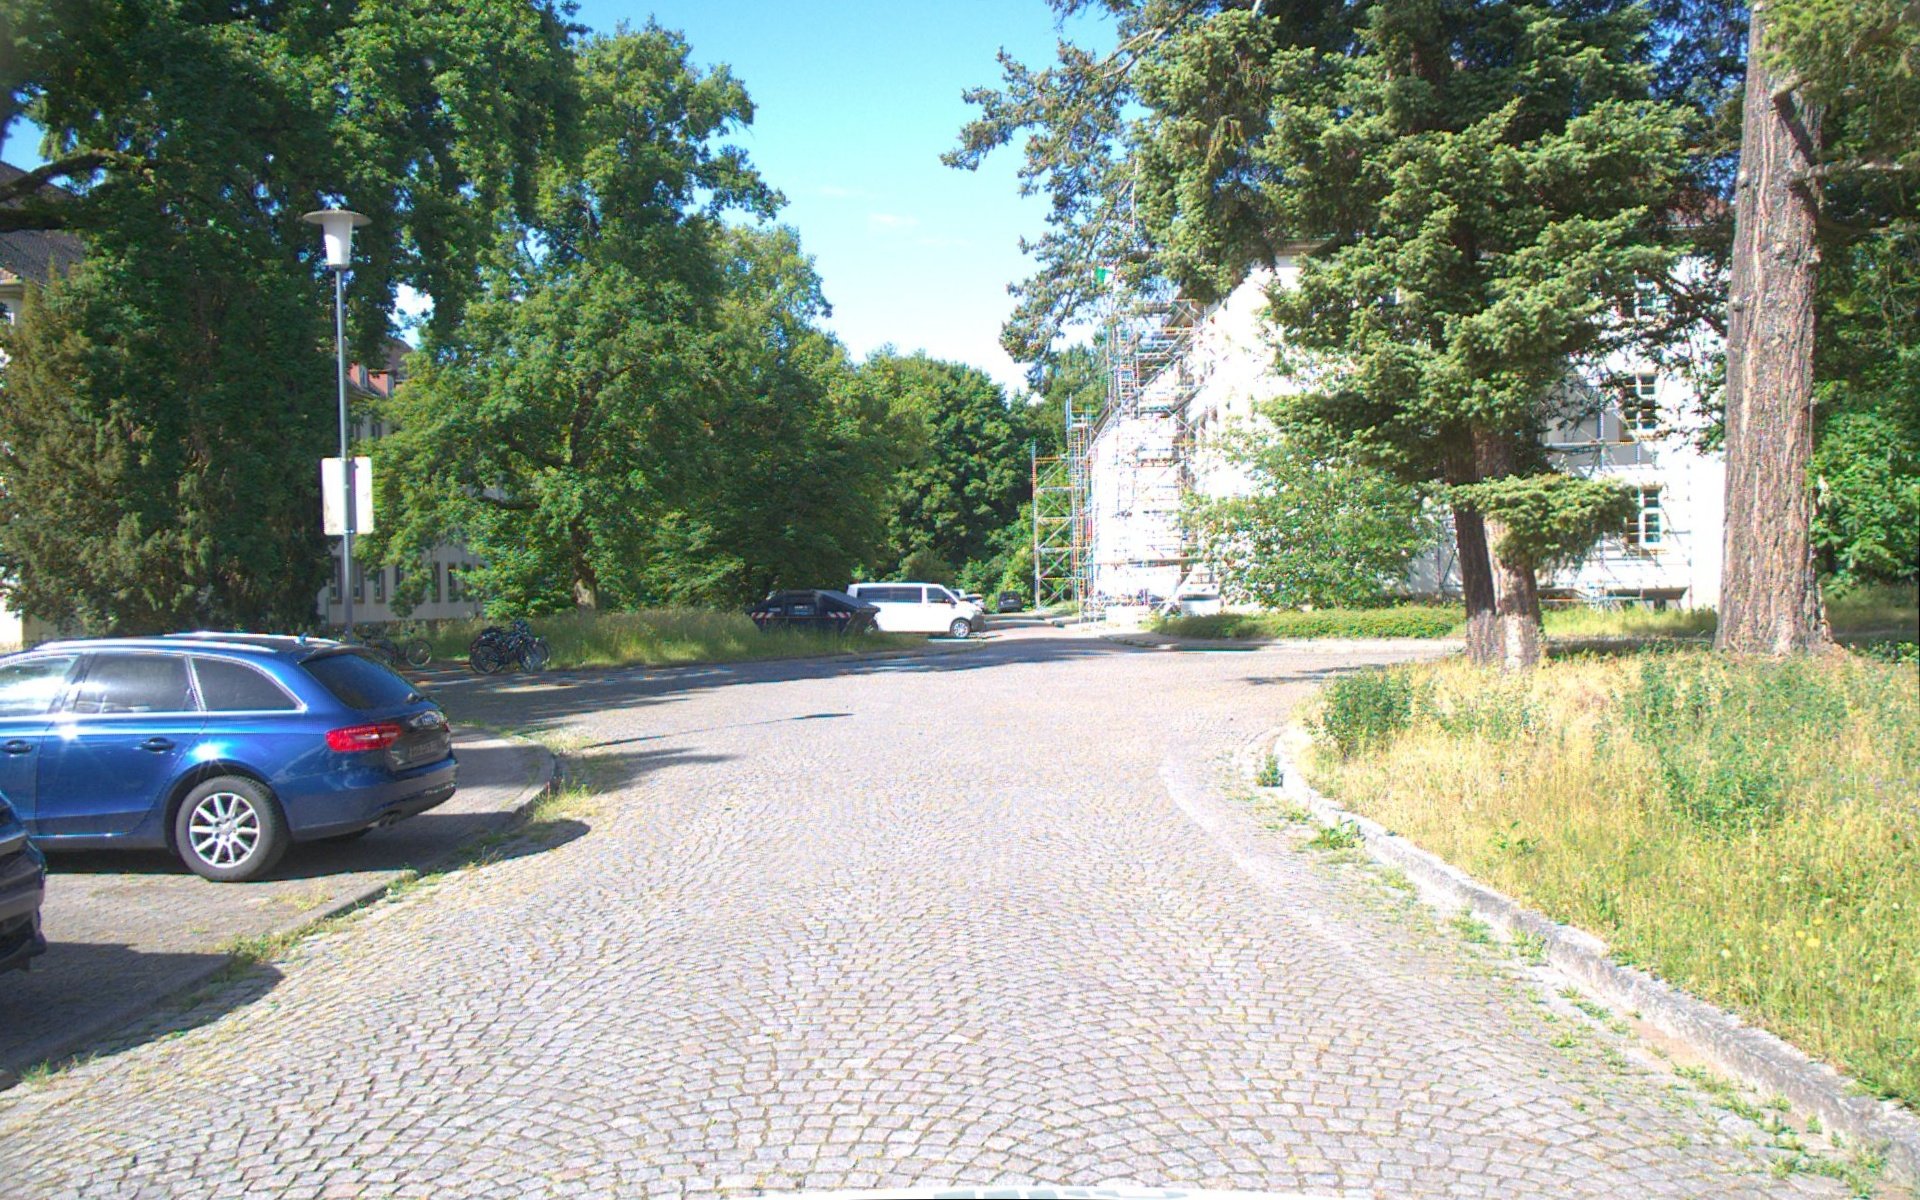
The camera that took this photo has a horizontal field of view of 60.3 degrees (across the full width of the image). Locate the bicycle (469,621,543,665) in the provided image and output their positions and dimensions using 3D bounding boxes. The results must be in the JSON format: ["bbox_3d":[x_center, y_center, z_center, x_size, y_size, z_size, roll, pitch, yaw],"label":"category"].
[{"bbox_3d":[-12.522,1.185,45.661,1.886,1.076,0.473,-4,1,-21],"label":"bicycle"}]

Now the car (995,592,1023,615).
[{"bbox_3d":[3.744,0.259,126.031,1.931,1.697,4.086,-2,0,0],"label":"car"}]

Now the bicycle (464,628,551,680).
[{"bbox_3d":[-10.743,1.263,39.280,1.893,1.076,0.471,-4,1,-29],"label":"bicycle"}]

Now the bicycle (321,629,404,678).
[{"bbox_3d":[-15.034,1.337,41.650,1.891,1.122,0.565,-2,1,-28],"label":"bicycle"}]

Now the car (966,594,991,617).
[{"bbox_3d":[1.390,0.405,125.730,1.775,1.607,4.134,-2,0,0],"label":"car"}]

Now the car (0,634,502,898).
[{"bbox_3d":[-5.435,1.030,10.835,4.268,1.470,1.921,-1,1,3],"label":"car"}]

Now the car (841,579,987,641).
[{"bbox_3d":[-1.626,0.352,59.718,5.128,2.051,1.950,-2,0,-1],"label":"car"}]

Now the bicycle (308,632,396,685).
[{"bbox_3d":[-14.515,1.388,39.495,1.888,1.122,0.566,-3,2,-25],"label":"bicycle"}]

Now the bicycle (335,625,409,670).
[{"bbox_3d":[-16.169,1.294,45.494,1.888,1.122,0.566,-2,1,-24],"label":"bicycle"}]

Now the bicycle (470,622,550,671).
[{"bbox_3d":[-11.469,1.180,42.179,1.887,1.076,0.472,-4,1,-23],"label":"bicycle"}]

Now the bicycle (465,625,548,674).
[{"bbox_3d":[-11.184,1.212,40.826,1.887,1.076,0.472,-4,1,-23],"label":"bicycle"}]

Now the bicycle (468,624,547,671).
[{"bbox_3d":[-11.766,1.218,42.991,1.886,1.076,0.473,-4,1,-21],"label":"bicycle"}]

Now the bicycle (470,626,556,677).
[{"bbox_3d":[-10.757,1.232,39.835,1.893,1.076,0.471,-4,1,-29],"label":"bicycle"}]

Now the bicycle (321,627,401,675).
[{"bbox_3d":[-15.550,1.315,42.949,1.891,1.122,0.565,-2,1,-28],"label":"bicycle"}]

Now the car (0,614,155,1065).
[{"bbox_3d":[-5.505,0.916,6.152,4.050,1.607,1.884,-1,0,0],"label":"car"}]

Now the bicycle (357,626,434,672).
[{"bbox_3d":[-15.019,1.293,44.034,1.884,1.122,0.567,-2,1,-19],"label":"bicycle"}]

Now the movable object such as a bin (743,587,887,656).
[{"bbox_3d":[-4.072,0.596,46.620,3.491,1.775,2.026,-2,0,19],"label":"movable object such as a bin"}]

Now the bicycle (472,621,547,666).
[{"bbox_3d":[-12.188,1.173,44.756,1.886,1.076,0.473,-4,1,-21],"label":"bicycle"}]

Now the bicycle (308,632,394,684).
[{"bbox_3d":[-14.724,1.387,39.990,1.888,1.122,0.566,-3,2,-25],"label":"bicycle"}]

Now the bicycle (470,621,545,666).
[{"bbox_3d":[-12.365,1.180,45.222,1.886,1.076,0.473,-4,1,-21],"label":"bicycle"}]

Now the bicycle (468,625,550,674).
[{"bbox_3d":[-11.289,1.220,41.389,1.887,1.076,0.472,-4,1,-23],"label":"bicycle"}]
